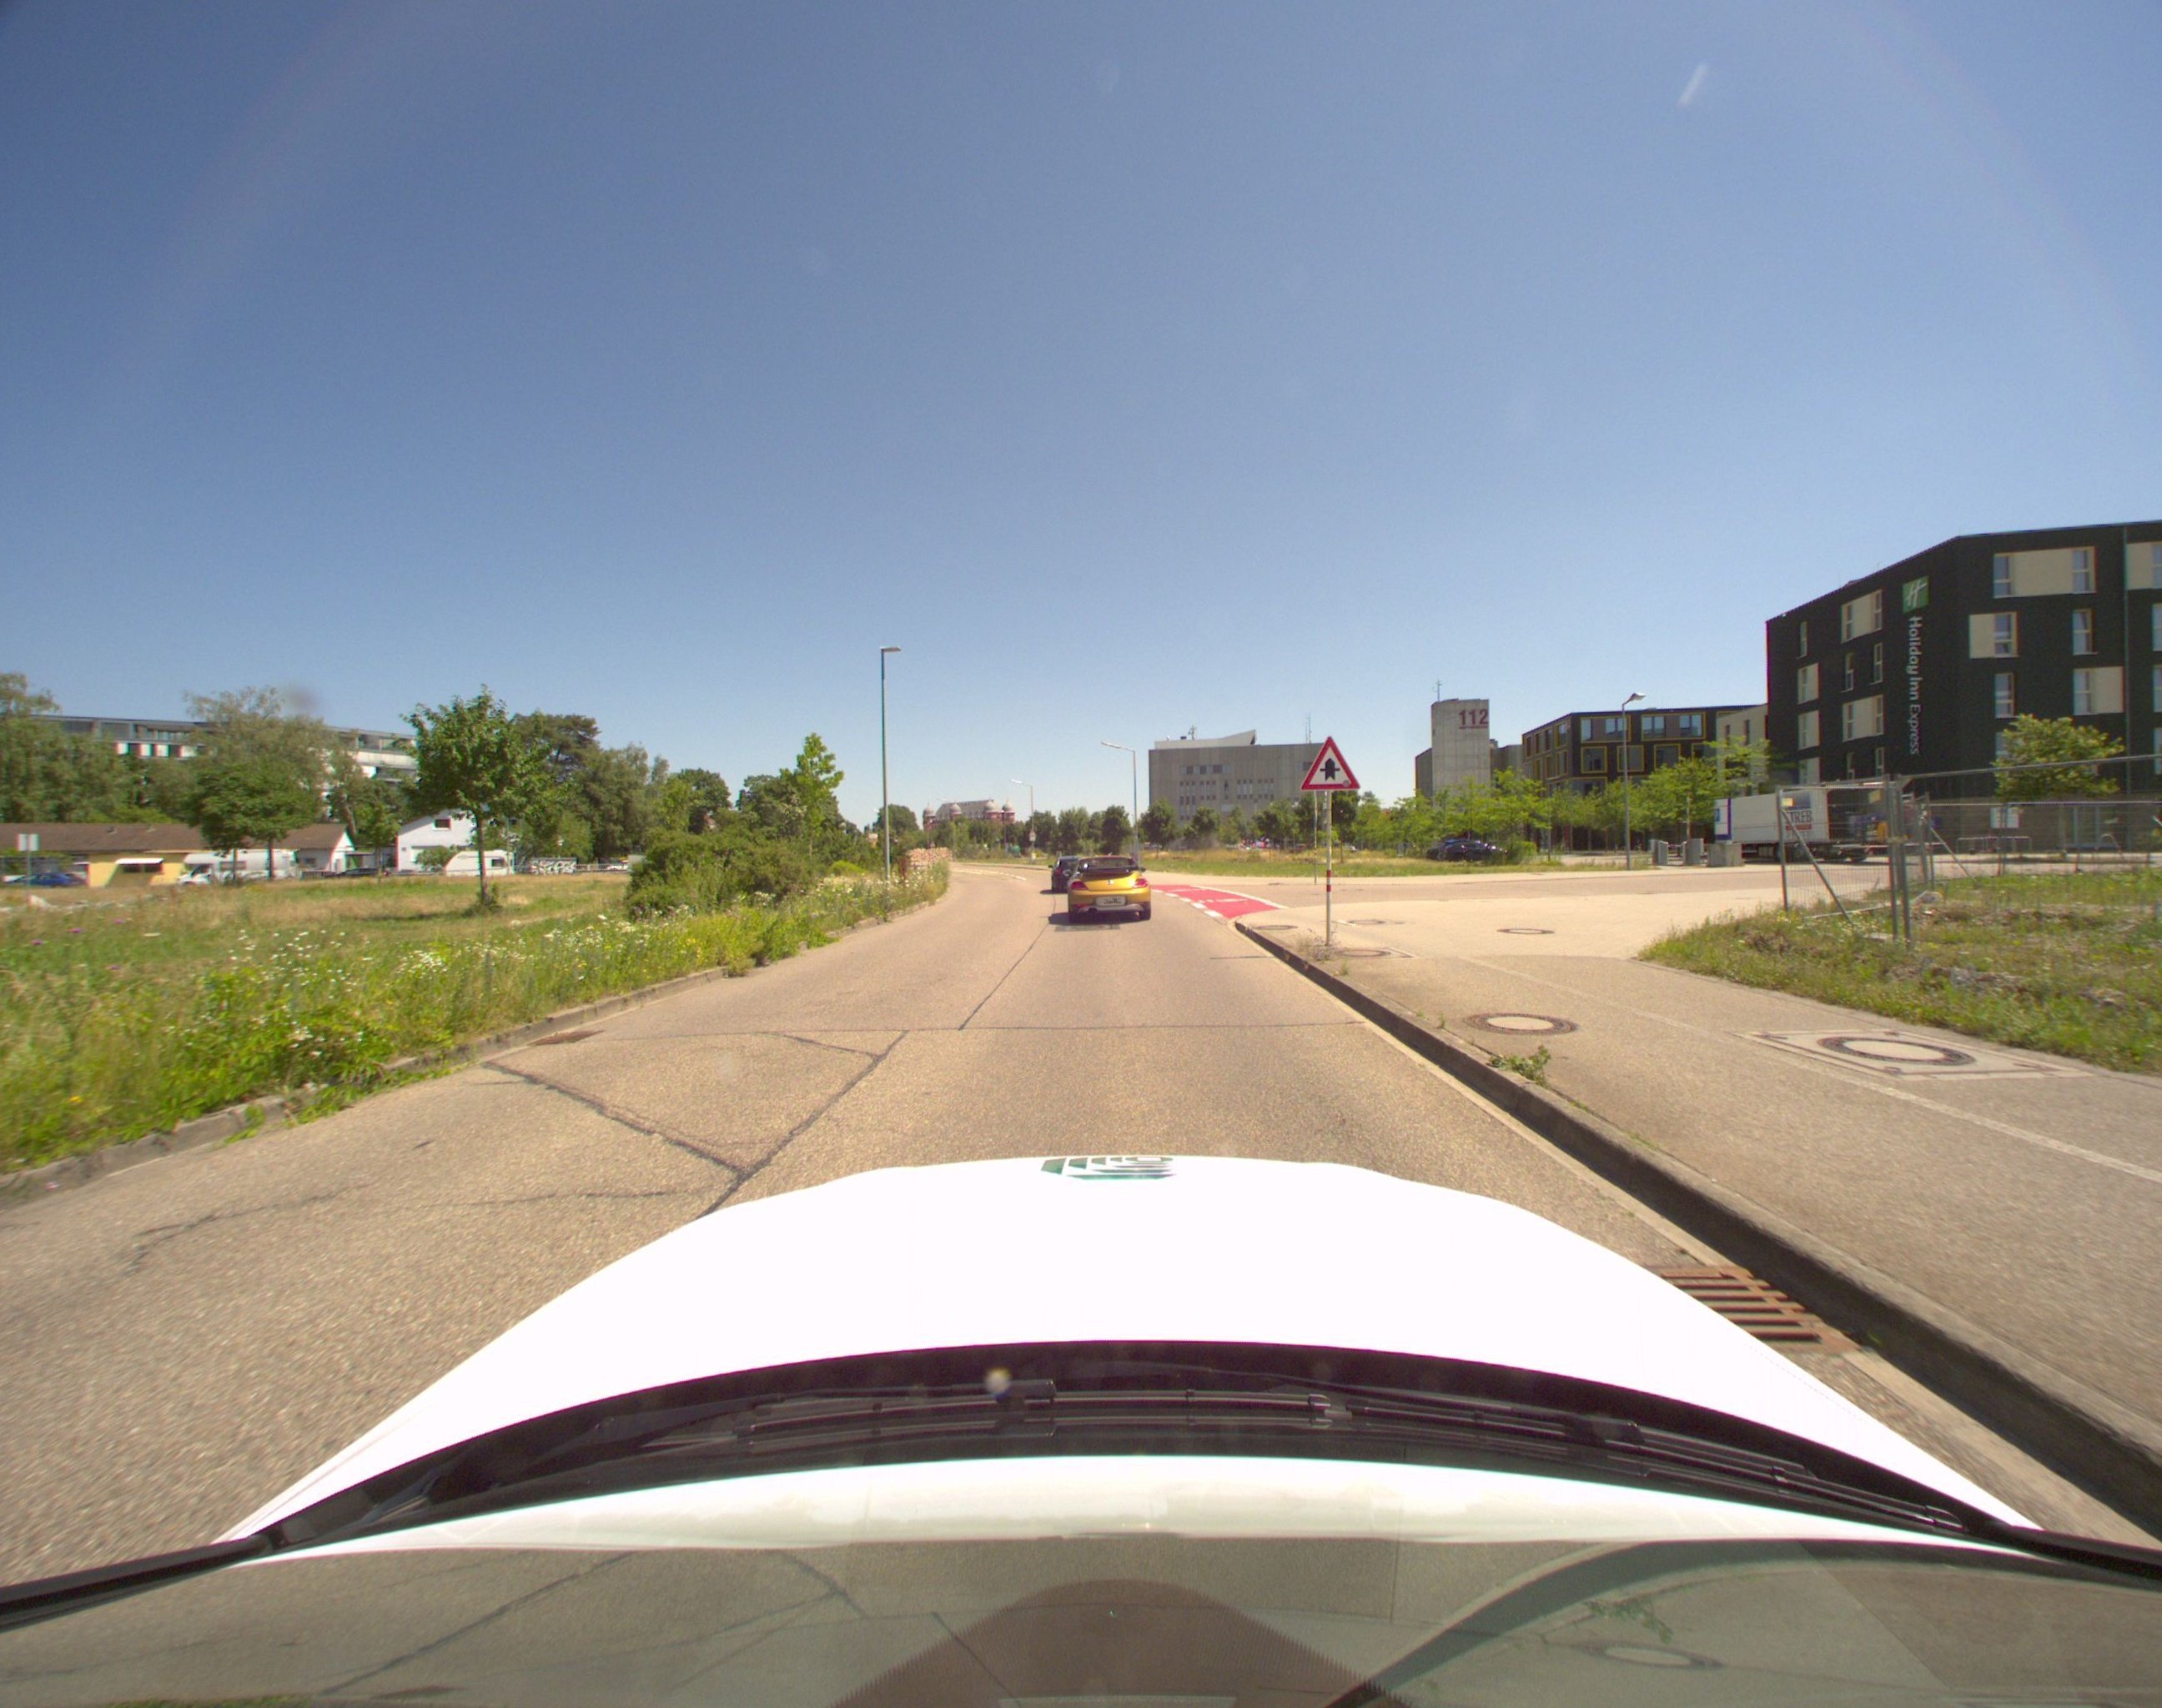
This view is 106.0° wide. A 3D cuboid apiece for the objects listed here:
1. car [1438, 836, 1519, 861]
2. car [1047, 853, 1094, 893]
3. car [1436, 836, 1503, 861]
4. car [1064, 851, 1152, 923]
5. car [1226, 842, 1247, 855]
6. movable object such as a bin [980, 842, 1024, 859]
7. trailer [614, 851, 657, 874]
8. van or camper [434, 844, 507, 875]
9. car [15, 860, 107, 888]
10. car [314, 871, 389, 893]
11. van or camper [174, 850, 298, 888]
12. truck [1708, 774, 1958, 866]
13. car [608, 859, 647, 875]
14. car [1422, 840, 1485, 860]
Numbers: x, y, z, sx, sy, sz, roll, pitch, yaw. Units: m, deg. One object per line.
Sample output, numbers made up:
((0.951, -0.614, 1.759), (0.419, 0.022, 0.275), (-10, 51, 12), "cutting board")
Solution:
((26.379, -0.343, 54.158), (4.465, 1.562, 2.038), (-1, 0, 11), "car")
((-0.431, 0.707, 32.491), (1.722, 1.443, 3.997), (-1, 0, -2), "car")
((27.921, -0.379, 58.670), (4.031, 1.652, 1.961), (-1, 0, 11), "car")
((0.665, 0.680, 18.647), (1.782, 1.436, 3.817), (-1, 0, 3), "car")
((29.167, -1.060, 152.871), (3.816, 2.294, 1.748), (-1, 0, 12), "car")
((-16.440, -0.708, 169.024), (4.972, 3.260, 10.364), (-1, 0, -31), "movable object such as a bin")
((-40.934, 0.793, 74.866), (3.434, 2.045, 1.744), (-1, 0, -28), "trailer")
((-51.334, 0.486, 68.609), (4.477, 2.591, 2.469), (1, -1, -28), "van or camper")
((-71.074, 1.362, 56.820), (3.592, 1.772, 1.740), (-1, 0, -32), "car")
((-57.833, 2.231, 64.669), (4.008, 1.552, 1.899), (-1, 0, -26), "car")
((-63.604, 1.091, 61.503), (5.987, 2.593, 2.448), (-1, 0, -30), "van or camper")
((34.145, -1.380, 38.017), (2.987, 3.461, 12.186), (-3, 0, 14), "truck")
((-46.101, 1.307, 82.892), (3.352, 1.577, 1.757), (-1, 0, -27), "car")
((29.037, -0.335, 63.550), (4.092, 1.444, 1.966), (-1, 0, 6), "car")
